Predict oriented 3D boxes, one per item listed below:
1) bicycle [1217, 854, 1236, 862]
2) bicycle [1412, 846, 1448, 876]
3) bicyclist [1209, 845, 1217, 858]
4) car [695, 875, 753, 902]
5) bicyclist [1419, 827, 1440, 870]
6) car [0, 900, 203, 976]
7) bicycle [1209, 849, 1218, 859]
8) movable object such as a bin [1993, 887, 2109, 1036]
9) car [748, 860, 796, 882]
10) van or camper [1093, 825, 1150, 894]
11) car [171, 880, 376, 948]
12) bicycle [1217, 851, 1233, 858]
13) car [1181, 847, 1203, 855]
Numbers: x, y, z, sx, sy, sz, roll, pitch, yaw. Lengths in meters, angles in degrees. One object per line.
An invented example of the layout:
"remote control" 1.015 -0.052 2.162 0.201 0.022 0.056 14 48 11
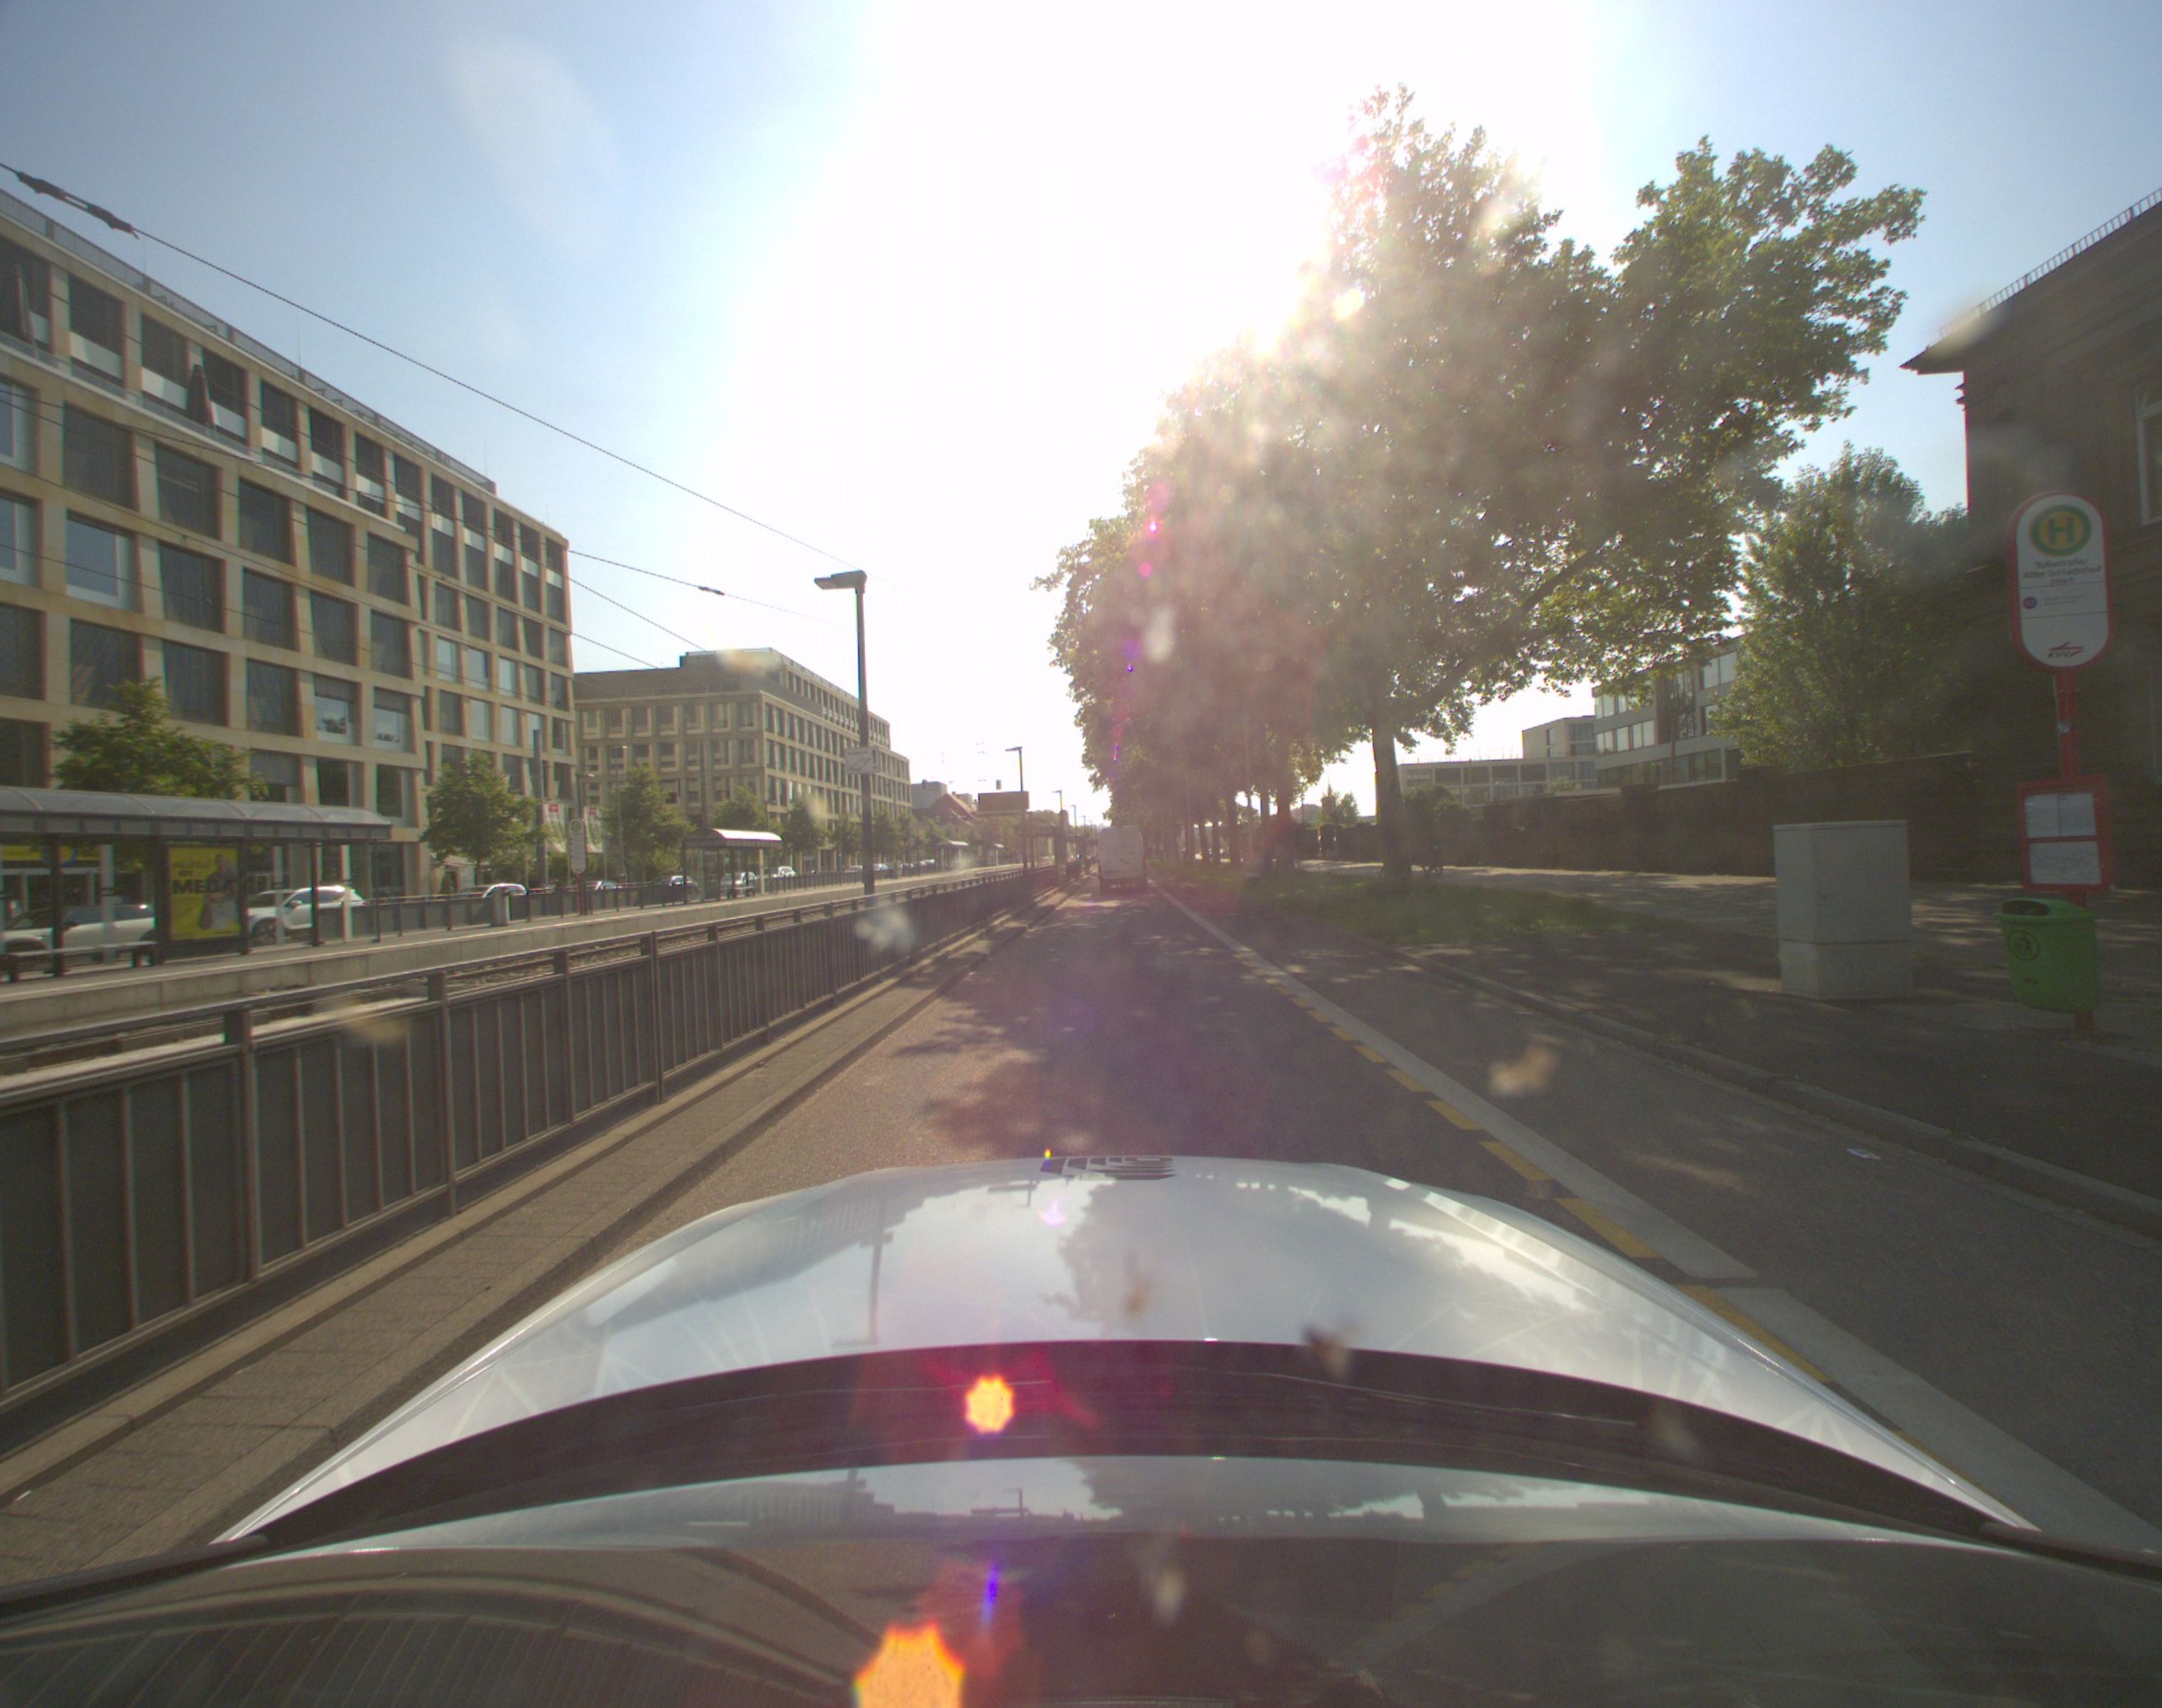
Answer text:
"bicycle" 17.741 0.473 99.264 2.171 0.847 0.503 -3 0 2
"bicycle" 12.941 0.251 30.270 0.489 1.089 1.857 -3 0 0
"bicyclist" 14.244 -0.266 87.838 0.667 1.276 0.728 -3 0 1
"car" -22.907 2.187 52.432 1.677 1.407 4.375 -3 0 2
"bicyclist" 12.883 -0.201 30.131 0.467 1.539 0.596 -3 0 -1
"car" -24.068 1.969 19.365 1.894 1.403 4.002 -3 0 2
"bicycle" 14.295 0.001 87.804 0.679 1.005 2.219 -3 0 2
"movable object such as a bin" 6.378 0.689 5.365 0.270 0.915 0.386 -3 0 0
"car" -22.387 1.227 59.217 1.677 1.407 4.372 -3 0 2
"van or camper" 1.644 0.210 34.836 2.109 2.682 5.249 -1 0 0
"car" -24.008 1.713 24.491 1.784 1.625 4.319 -3 0 0
"bicycle" 18.058 0.074 102.171 1.924 0.847 0.372 -3 0 2
"car" 20.741 -0.478 152.333 3.971 1.376 2.001 -1 -1 2
